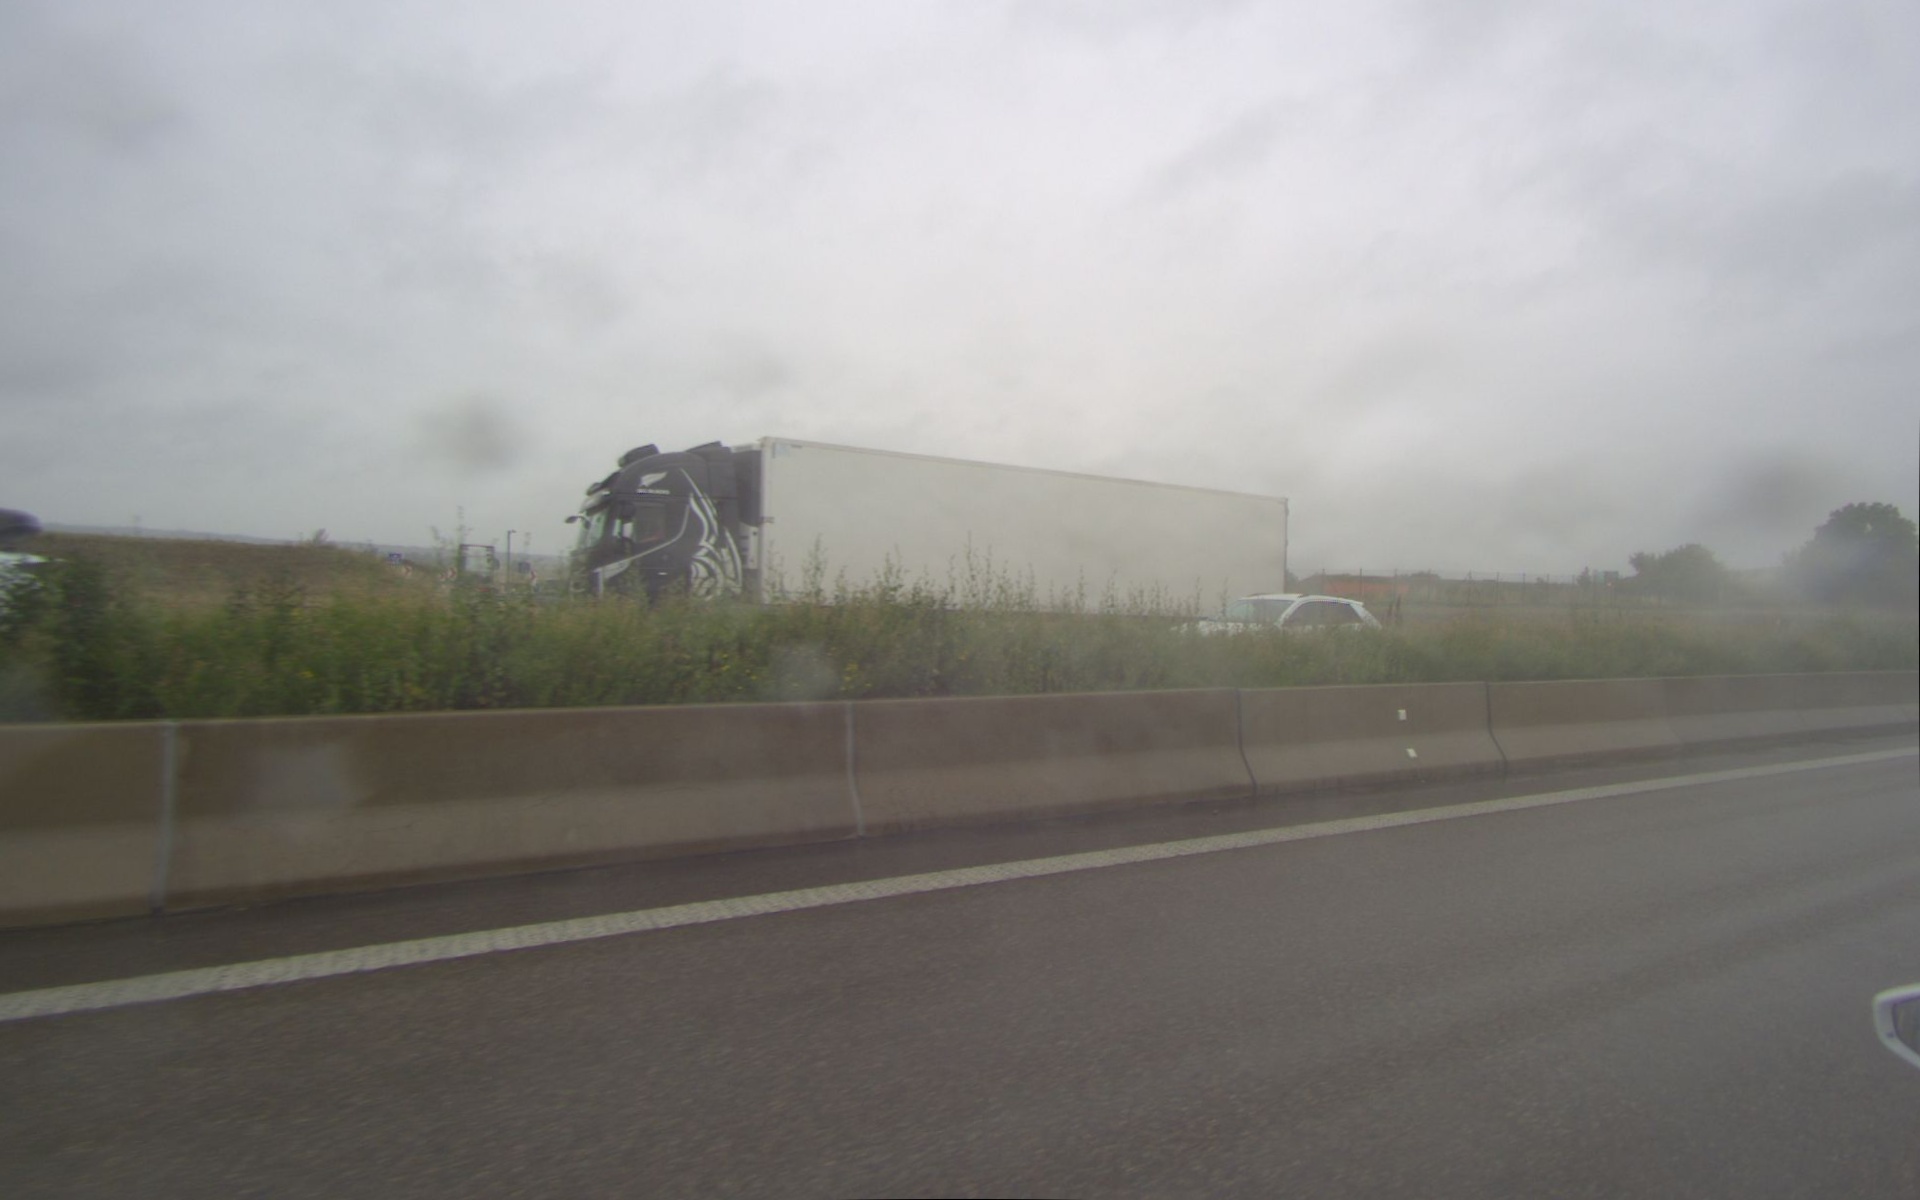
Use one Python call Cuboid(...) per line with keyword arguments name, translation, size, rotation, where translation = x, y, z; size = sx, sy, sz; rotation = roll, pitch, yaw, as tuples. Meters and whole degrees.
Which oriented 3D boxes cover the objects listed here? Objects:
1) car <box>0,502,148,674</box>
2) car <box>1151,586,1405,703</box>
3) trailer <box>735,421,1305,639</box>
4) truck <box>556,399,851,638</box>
Cuboid(name="car", translation=(-11.297, -0.180, 10.567), size=(3.953, 1.762, 1.984), rotation=(2, 0, -30))
Cuboid(name="car", translation=(5.116, 0.673, 16.046), size=(3.953, 1.639, 1.594), rotation=(2, 1, -30))
Cuboid(name="trailer", translation=(2.052, -1.119, 22.142), size=(13.697, 3.815, 1.984), rotation=(2, 1, -31))
Cuboid(name="truck", translation=(-4.611, -1.289, 18.218), size=(4.756, 3.832, 1.984), rotation=(1, 1, -30))
